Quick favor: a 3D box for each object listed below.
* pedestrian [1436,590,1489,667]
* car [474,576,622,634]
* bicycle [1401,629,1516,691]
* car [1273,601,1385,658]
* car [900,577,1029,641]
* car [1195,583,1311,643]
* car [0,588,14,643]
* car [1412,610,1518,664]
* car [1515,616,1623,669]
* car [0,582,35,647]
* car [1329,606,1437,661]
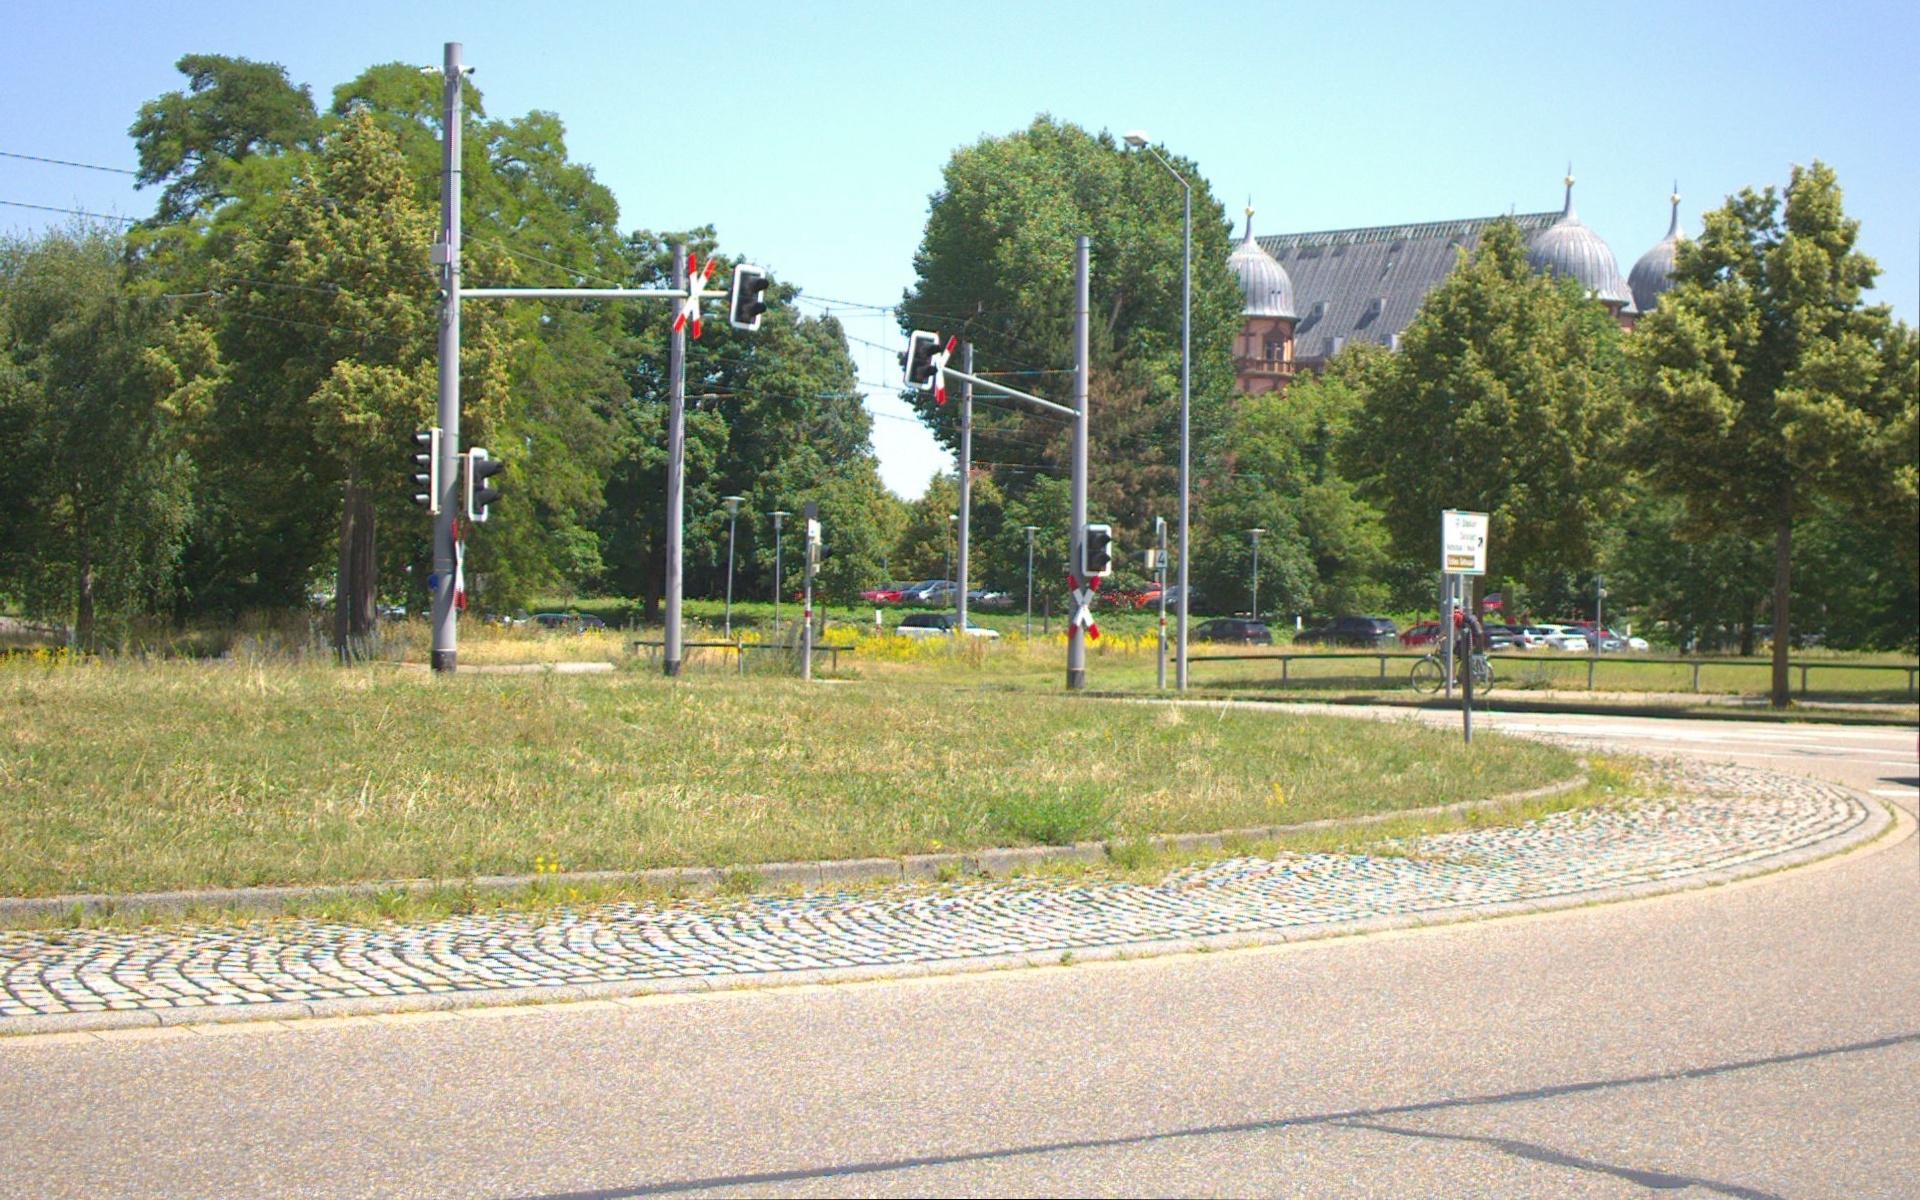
[{"bbox_3d":[9.734,0.552,66.603,0.816,1.446,0.708,2,-1,23],"label":"pedestrian"},{"bbox_3d":[-12.478,0.164,104.253,3.989,1.569,1.999,2,-1,10],"label":"car"},{"bbox_3d":[9.652,1.163,66.628,2.054,1.111,0.729,2,-1,23],"label":"bicycle"},{"bbox_3d":[14.065,1.119,130.991,3.989,2.007,1.999,2,-1,13],"label":"car"},{"bbox_3d":[0.159,0.307,117.491,3.989,2.007,1.999,2,-1,13],"label":"car"},{"bbox_3d":[10.832,0.487,127.018,3.989,2.007,1.999,2,-1,13],"label":"car"},{"bbox_3d":[-36.894,0.515,126.182,3.986,2.007,2.000,2,-1,-11],"label":"car"},{"bbox_3d":[20.306,1.500,138.113,3.989,2.007,1.999,2,-1,13],"label":"car"},{"bbox_3d":[25.073,1.753,141.505,3.991,2.007,1.998,2,-1,21],"label":"car"},{"bbox_3d":[-26.403,0.307,89.442,3.988,1.678,1.999,3,-2,-38],"label":"car"},{"bbox_3d":[16.734,1.321,136.055,3.989,2.007,1.999,2,-1,13],"label":"car"}]
